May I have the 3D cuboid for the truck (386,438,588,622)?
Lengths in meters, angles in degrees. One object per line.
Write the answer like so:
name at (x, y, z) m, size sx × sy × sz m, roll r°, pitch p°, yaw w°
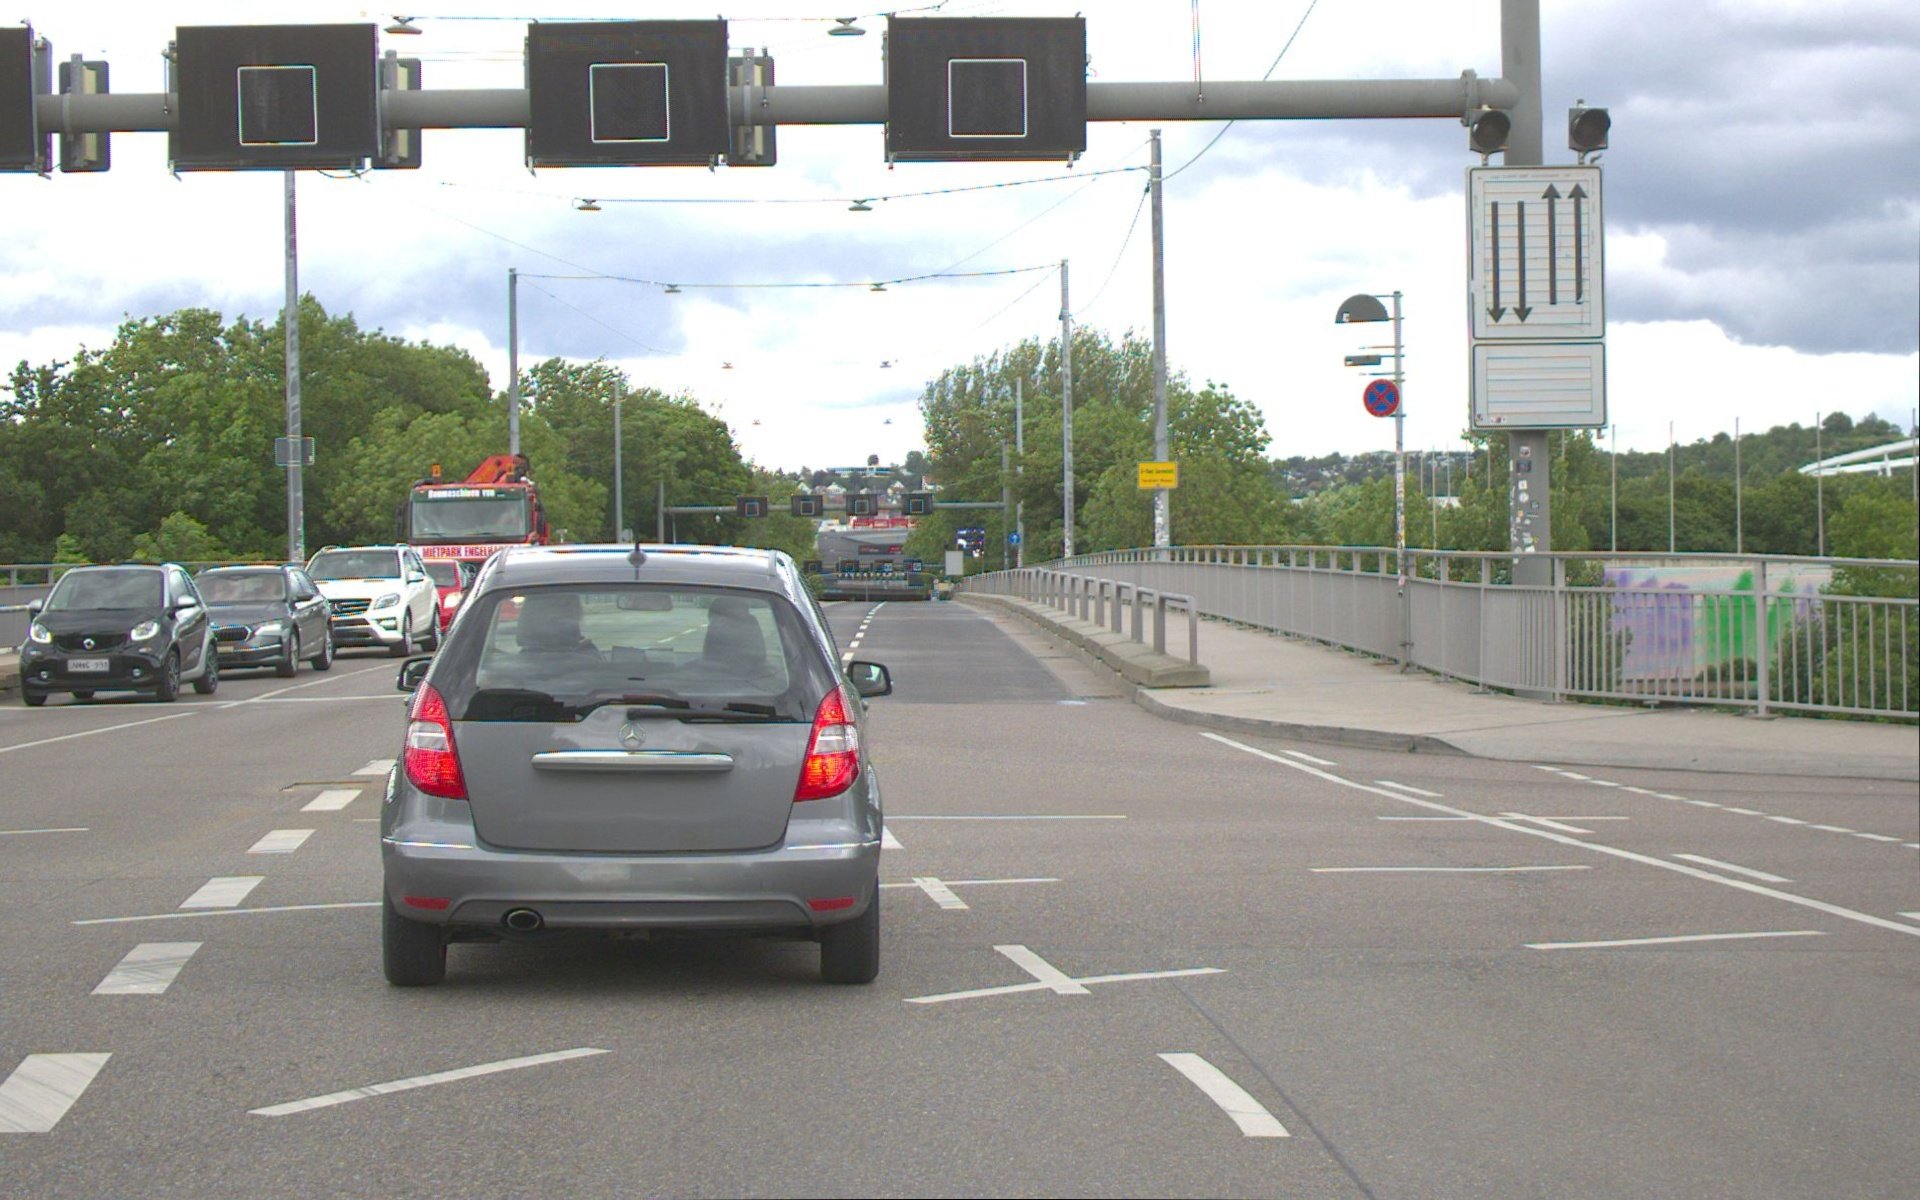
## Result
truck at (-9.923, -1.468, 73.206) m, size 3.005 × 3.553 × 9.983 m, roll -2°, pitch 1°, yaw -1°

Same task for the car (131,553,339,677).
car at (-9.537, 0.157, 45.560) m, size 1.835 × 1.499 × 4.517 m, roll -2°, pitch 1°, yaw -1°

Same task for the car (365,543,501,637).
car at (-9.531, -0.198, 62.411) m, size 1.880 × 1.597 × 4.016 m, roll -2°, pitch 1°, yaw -1°

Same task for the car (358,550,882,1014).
car at (-1.179, 0.583, 13.429) m, size 1.745 × 1.545 × 3.871 m, roll 0°, pitch 1°, yaw -1°

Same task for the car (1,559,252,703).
car at (-9.468, 0.318, 39.328) m, size 1.835 × 1.499 × 3.871 m, roll -2°, pitch 1°, yaw 1°

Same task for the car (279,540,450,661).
car at (-9.277, -0.030, 53.899) m, size 1.880 × 1.755 × 4.803 m, roll -2°, pitch 1°, yaw -1°
